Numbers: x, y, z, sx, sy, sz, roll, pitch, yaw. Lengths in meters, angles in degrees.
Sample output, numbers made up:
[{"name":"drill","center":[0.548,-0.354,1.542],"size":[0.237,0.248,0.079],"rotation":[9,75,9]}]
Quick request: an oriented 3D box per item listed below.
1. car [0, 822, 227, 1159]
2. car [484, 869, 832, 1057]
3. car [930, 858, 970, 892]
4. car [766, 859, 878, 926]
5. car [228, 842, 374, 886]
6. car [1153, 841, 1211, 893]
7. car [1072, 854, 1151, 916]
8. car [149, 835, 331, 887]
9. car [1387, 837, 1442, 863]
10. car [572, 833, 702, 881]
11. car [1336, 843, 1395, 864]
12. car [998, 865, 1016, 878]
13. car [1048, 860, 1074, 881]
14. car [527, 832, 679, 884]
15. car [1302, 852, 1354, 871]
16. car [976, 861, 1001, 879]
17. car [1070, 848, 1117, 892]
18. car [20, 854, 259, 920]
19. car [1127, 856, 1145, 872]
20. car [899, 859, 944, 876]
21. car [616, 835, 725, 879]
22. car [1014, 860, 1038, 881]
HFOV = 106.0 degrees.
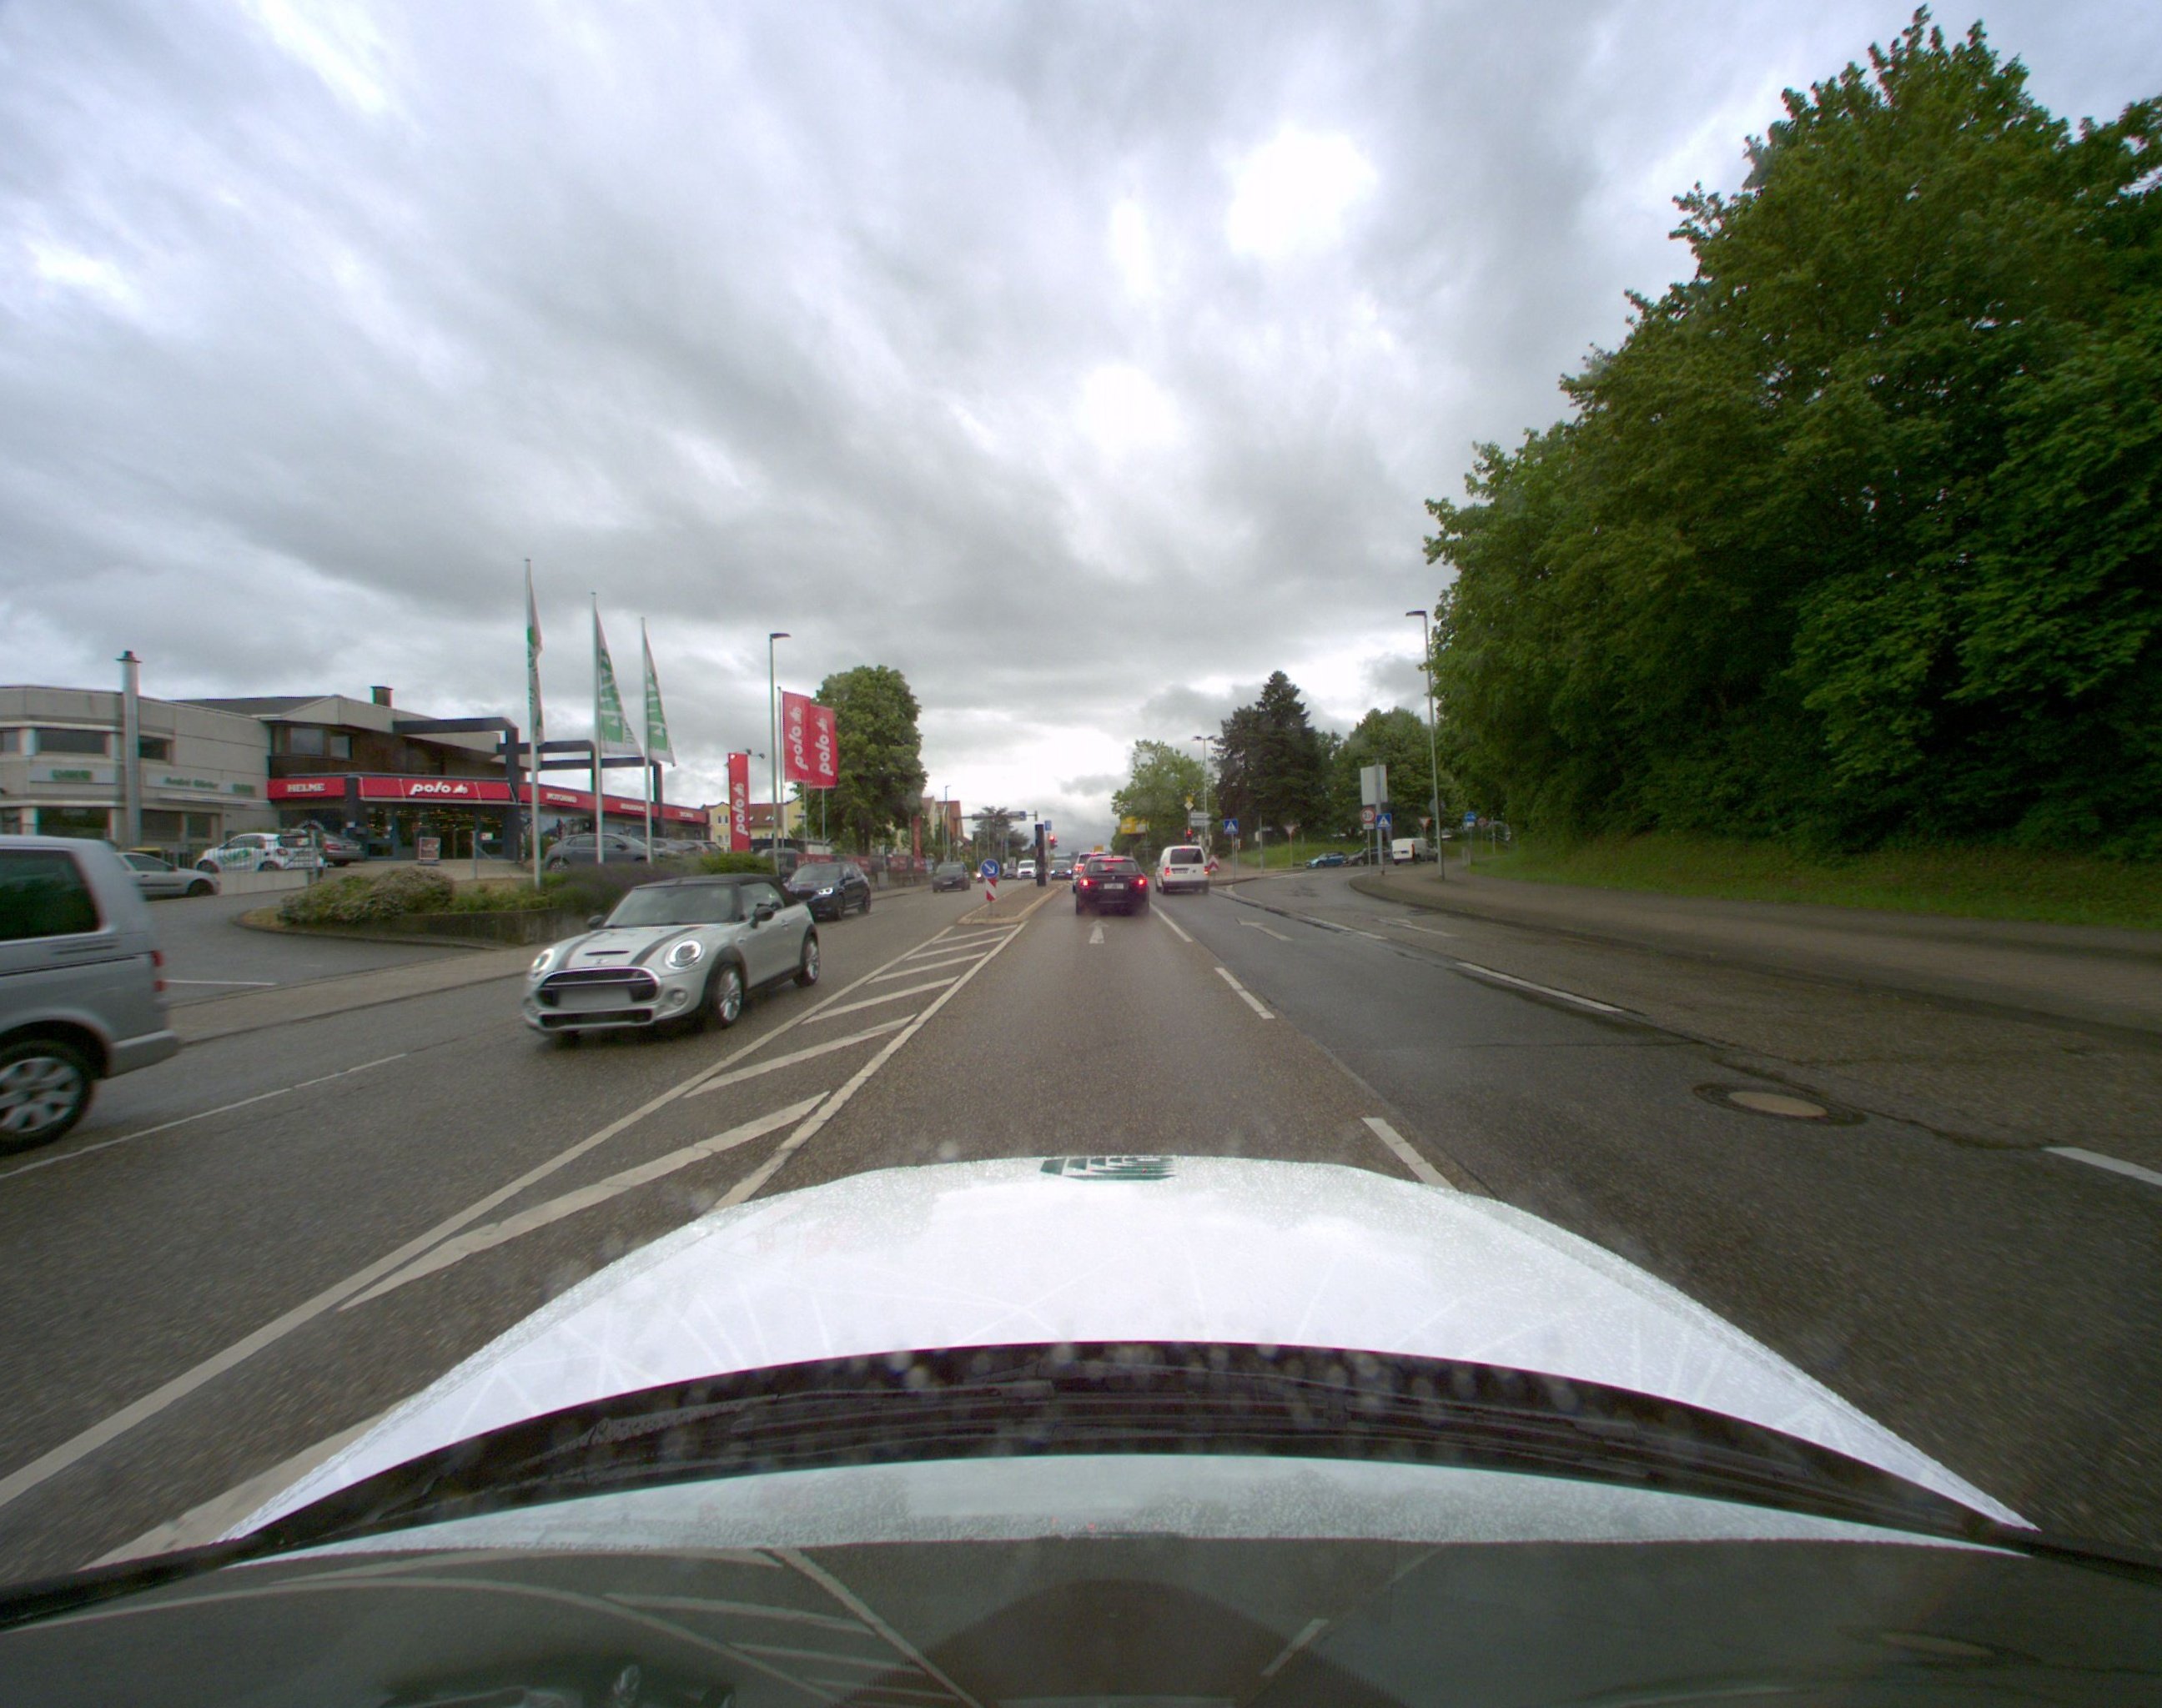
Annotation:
[{"name":"car","center":[-7.268,0.861,3.584],"size":[1.791,1.982,4.896],"rotation":[-4,0,-1]},{"name":"car","center":[-4.153,0.949,8.836],"size":[1.662,1.398,3.998],"rotation":[-4,0,-1]},{"name":"car","center":[-7.283,1.130,45.562],"size":[1.753,1.677,4.142],"rotation":[-4,0,-4]},{"name":"car","center":[-7.443,1.041,23.892],"size":[1.746,1.610,4.531],"rotation":[-4,0,-1]},{"name":"car","center":[-30.615,0.376,32.054],"size":[3.972,1.512,1.876],"rotation":[-2,0,3]},{"name":"car","center":[3.842,0.475,31.607],"size":[1.736,1.869,3.945],"rotation":[-1,0,0]},{"name":"car","center":[0.861,0.747,21.302],"size":[1.847,1.419,3.960],"rotation":[-1,0,4]},{"name":"car","center":[-27.578,0.223,26.833],"size":[3.819,1.482,1.872],"rotation":[-2,0,-4]},{"name":"car","center":[23.745,-0.284,57.895],"size":[3.964,1.708,1.800],"rotation":[-3,1,-37]},{"name":"car","center":[-15.798,0.099,29.136],"size":[3.643,1.482,1.738],"rotation":[-2,0,-6]},{"name":"car","center":[23.394,-0.025,66.975],"size":[4.327,1.467,1.890],"rotation":[-3,0,-17]},{"name":"car","center":[-8.830,2.092,97.711],"size":[1.662,1.382,4.072],"rotation":[-3,0,0]},{"name":"car","center":[-1.559,1.268,63.456],"size":[1.890,1.456,4.093],"rotation":[-3,-1,-2]},{"name":"car","center":[-15.479,0.114,26.551],"size":[3.822,1.482,1.738],"rotation":[-2,0,-6]},{"name":"car","center":[21.088,0.636,69.449],"size":[3.997,1.294,1.599],"rotation":[-4,1,-17]},{"name":"car","center":[-8.111,1.360,71.526],"size":[1.629,1.381,3.764],"rotation":[-4,0,0]},{"name":"car","center":[0.581,0.646,34.520],"size":[1.720,1.711,3.387],"rotation":[-1,1,4]},{"name":"car","center":[-25.120,0.807,21.985],"size":[1.668,1.512,4.004],"rotation":[-4,0,1]},{"name":"car","center":[5.485,1.011,81.433],"size":[1.594,1.371,3.683],"rotation":[-3,1,3]},{"name":"car","center":[-16.191,1.361,82.702],"size":[4.216,1.456,1.785],"rotation":[-3,0,-27]},{"name":"car","center":[-16.154,0.113,32.141],"size":[3.404,1.509,1.582],"rotation":[-3,0,0]},{"name":"car","center":[-5.190,1.520,77.173],"size":[1.852,1.823,4.578],"rotation":[-4,-1,-1]}]
